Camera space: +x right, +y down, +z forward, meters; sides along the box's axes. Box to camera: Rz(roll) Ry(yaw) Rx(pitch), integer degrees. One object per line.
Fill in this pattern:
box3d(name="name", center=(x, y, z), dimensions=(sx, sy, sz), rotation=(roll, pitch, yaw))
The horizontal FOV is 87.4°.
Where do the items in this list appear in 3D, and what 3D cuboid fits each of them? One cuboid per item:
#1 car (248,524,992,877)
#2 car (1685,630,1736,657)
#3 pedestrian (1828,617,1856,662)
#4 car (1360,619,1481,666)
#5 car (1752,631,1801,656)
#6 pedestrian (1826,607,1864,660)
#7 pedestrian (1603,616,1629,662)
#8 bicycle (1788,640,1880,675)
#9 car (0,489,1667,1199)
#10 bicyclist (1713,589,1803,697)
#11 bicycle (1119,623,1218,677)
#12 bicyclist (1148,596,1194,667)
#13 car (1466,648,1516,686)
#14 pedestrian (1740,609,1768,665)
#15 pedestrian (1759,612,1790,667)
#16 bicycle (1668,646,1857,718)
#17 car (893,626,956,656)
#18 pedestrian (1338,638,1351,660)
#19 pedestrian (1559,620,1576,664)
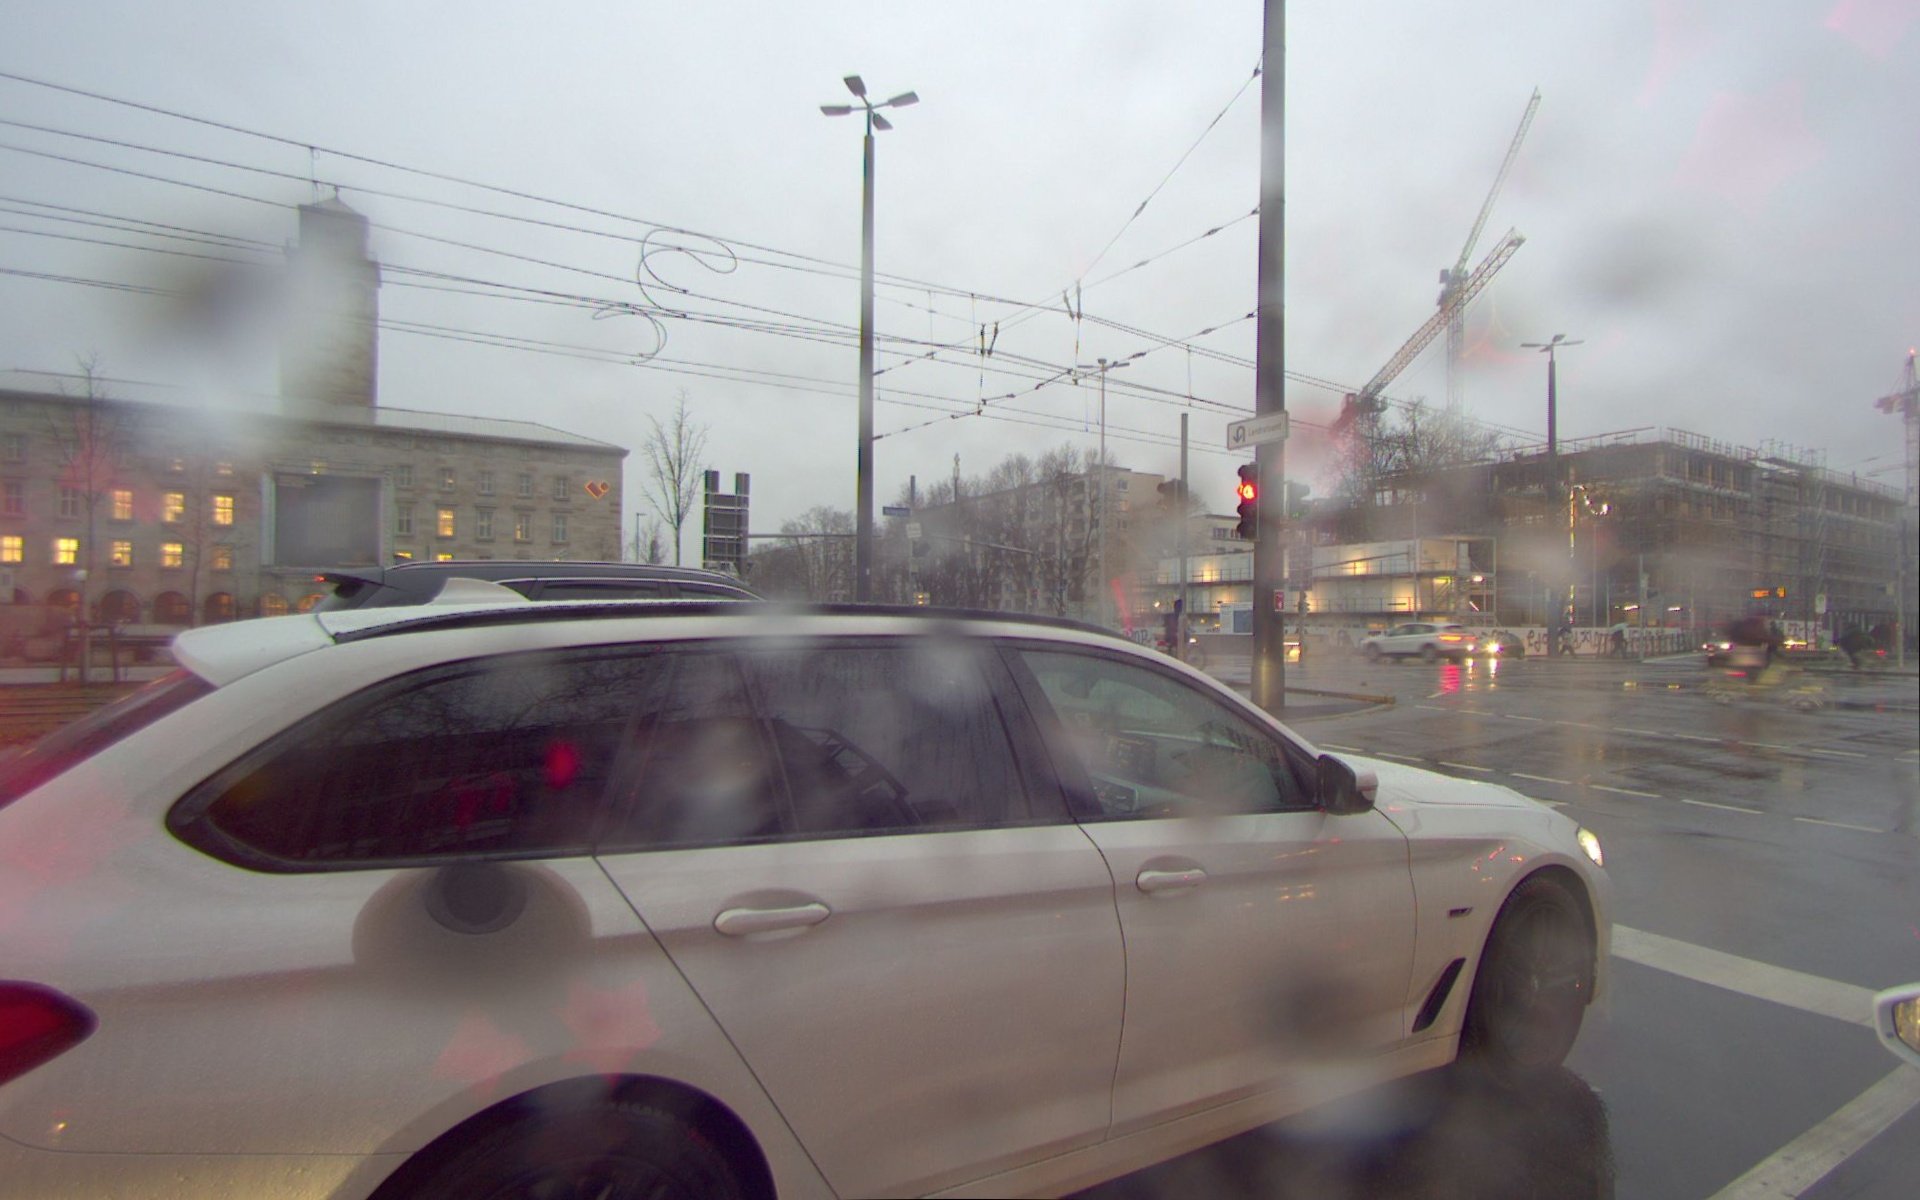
box3d(name="car", center=(-2.115, 0.573, 7.021), dimensions=(4.564, 1.766, 1.692), rotation=(2, -2, -34))
box3d(name="car", center=(58.117, 3.370, 77.805), dimensions=(3.959, 2.040, 1.981), rotation=(2, -2, -34))
box3d(name="pedestrian", center=(33.011, 1.468, 37.587), dimensions=(0.669, 1.640, 0.707), rotation=(0, -1, 32))
box3d(name="car", center=(18.429, 1.686, 40.418), dimensions=(1.686, 1.785, 4.284), rotation=(1, -2, -29))
box3d(name="car", center=(69.733, 3.726, 85.779), dimensions=(3.953, 2.040, 1.984), rotation=(2, -2, -30))
box3d(name="pedestrian", center=(27.301, 1.015, 30.987), dimensions=(0.532, 1.590, 0.808), rotation=(4, -3, -40))
box3d(name="pedestrian", center=(29.402, 1.753, 45.023), dimensions=(0.741, 2.040, 0.785), rotation=(2, -2, -40))
box3d(name="bicycle", center=(27.097, 1.770, 31.175), dimensions=(0.537, 1.004, 2.112), rotation=(7, -5, -37))
box3d(name="car", center=(-0.111, 0.696, 3.001), dimensions=(4.868, 1.540, 1.900), rotation=(2, -2, -32))
box3d(name="bicyclist", center=(13.090, 0.695, 16.487), dimensions=(0.612, 1.719, 1.026), rotation=(2, -2, -36))
box3d(name="bicycle", center=(5.547, 1.324, 26.979), dimensions=(0.714, 1.380, 2.809), rotation=(2, -3, -38))
box3d(name="bicyclist", center=(5.628, 0.848, 26.849), dimensions=(0.715, 1.863, 0.986), rotation=(2, -2, -39))
box3d(name="car", center=(31.110, 3.868, 58.779), dimensions=(1.736, 2.040, 3.980), rotation=(-1, -2, 41))
box3d(name="pedestrian", center=(30.026, 1.390, 37.990), dimensions=(0.674, 2.115, 0.613), rotation=(0, -1, 20))
box3d(name="pedestrian", center=(30.950, 1.499, 38.167), dimensions=(0.762, 2.040, 0.613), rotation=(0, -1, 22))
box3d(name="bicycle", center=(13.111, 1.309, 16.499), dimensions=(0.612, 1.046, 2.356), rotation=(2, -2, -36))
box3d(name="car", center=(-2.128, 2.405, 59.333), dimensions=(1.978, 1.706, 3.965), rotation=(1, -2, -33))
box3d(name="pedestrian", center=(27.152, 3.433, 70.971), dimensions=(0.781, 1.549, 0.646), rotation=(0, -2, 26))
box3d(name="pedestrian", center=(28.214, 1.945, 46.659), dimensions=(0.635, 2.040, 0.503), rotation=(2, -2, -40))
